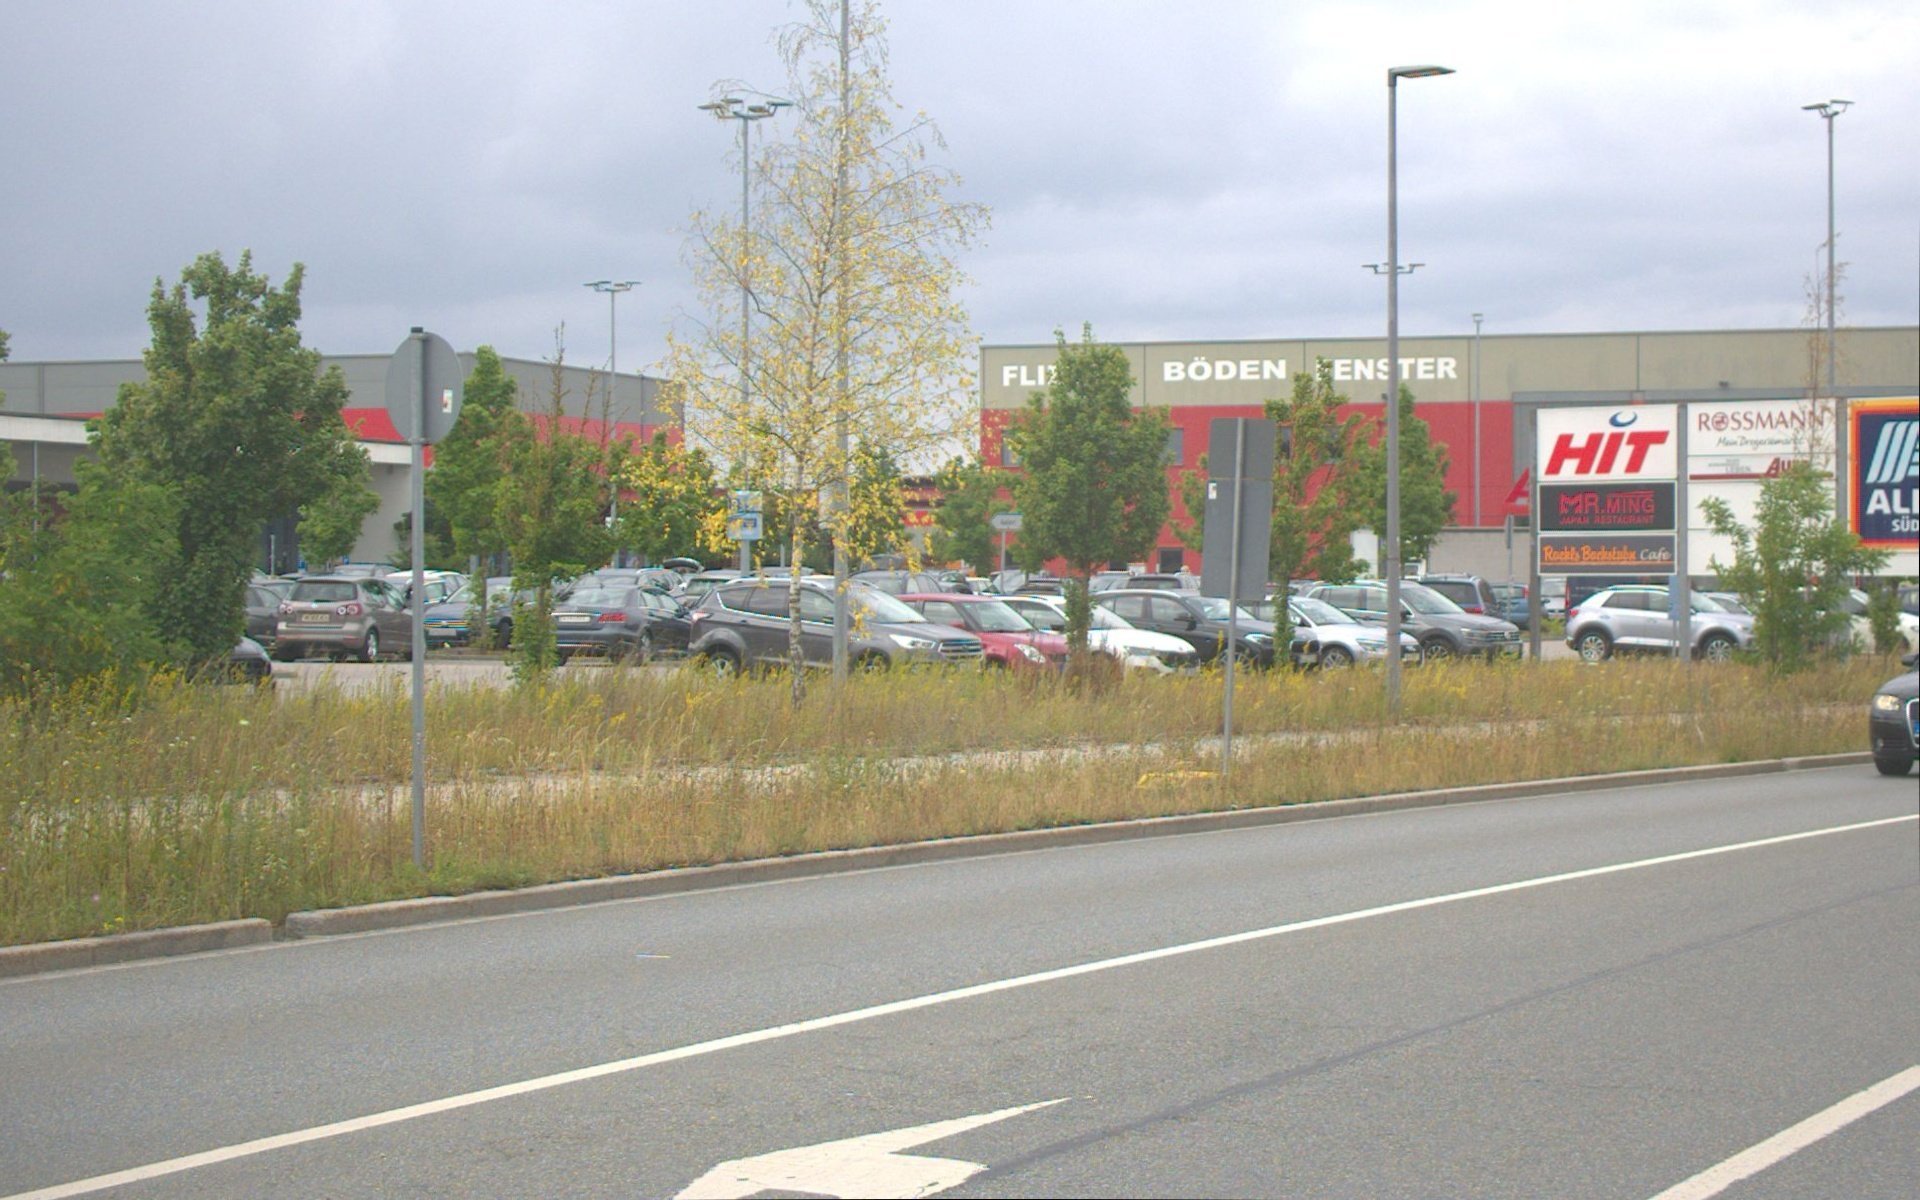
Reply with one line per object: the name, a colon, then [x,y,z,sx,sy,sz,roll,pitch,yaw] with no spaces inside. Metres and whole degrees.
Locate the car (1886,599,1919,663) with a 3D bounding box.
car: [22.776,0.691,76.955,3.834,1.423,1.740,0,0,20]

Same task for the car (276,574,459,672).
car: [-10.795,0.397,62.901,1.994,1.728,3.998,0,0,11]

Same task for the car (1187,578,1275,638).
car: [7.624,0.215,96.474,1.758,1.648,3.833,0,0,15]

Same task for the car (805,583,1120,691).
car: [0.024,0.470,46.374,3.809,1.385,1.911,0,0,31]

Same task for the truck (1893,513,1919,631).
truck: [27.359,-0.697,86.720,8.157,2.935,2.680,0,0,-33]

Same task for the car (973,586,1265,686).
car: [2.308,0.500,50.118,3.809,1.385,1.911,0,0,31]

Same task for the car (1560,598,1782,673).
car: [13.786,0.701,66.716,3.838,1.423,1.739,-1,-1,36]

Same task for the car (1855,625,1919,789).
car: [9.490,0.913,30.492,1.772,1.380,4.142,-1,-1,33]

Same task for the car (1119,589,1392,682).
car: [4.624,0.531,53.906,3.809,1.385,1.911,0,0,31]

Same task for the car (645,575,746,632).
car: [-7.735,0.089,100.738,1.758,1.648,3.833,0,0,15]

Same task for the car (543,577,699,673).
car: [-5.990,0.408,61.116,1.758,1.648,3.834,0,0,11]

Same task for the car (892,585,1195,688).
car: [1.158,0.486,48.219,3.809,1.385,1.911,0,0,31]

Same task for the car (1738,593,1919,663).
car: [18.816,0.603,73.109,3.994,1.437,1.996,-1,-1,32]

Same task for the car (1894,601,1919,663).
car: [23.498,0.734,78.937,3.834,1.423,1.740,0,0,20]

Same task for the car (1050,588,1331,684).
car: [3.481,0.516,52.060,3.809,1.385,1.911,0,0,31]

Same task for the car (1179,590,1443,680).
car: [5.669,0.545,55.648,3.809,1.385,1.911,0,0,31]

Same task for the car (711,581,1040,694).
car: [-1.097,0.453,44.242,3.809,1.385,1.911,0,0,31]
